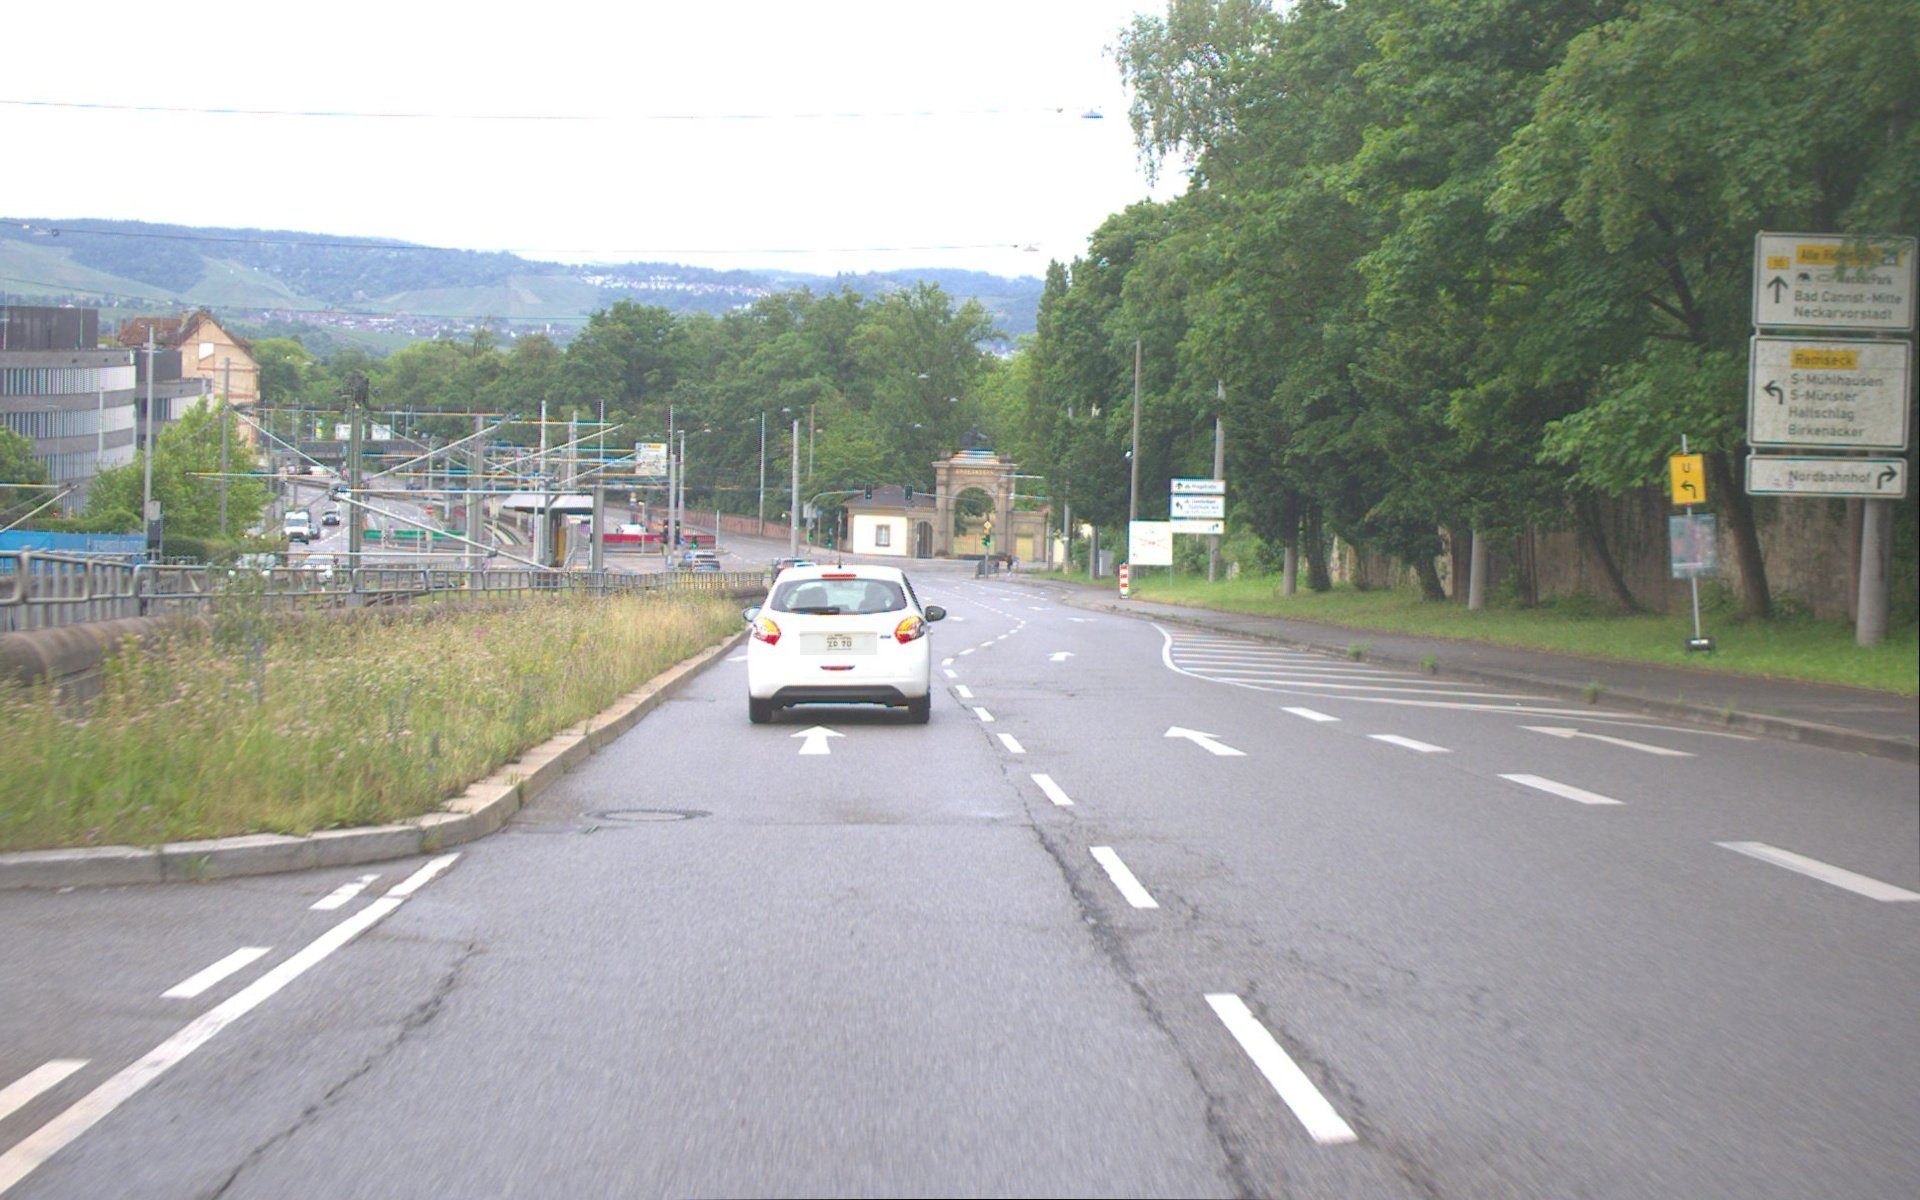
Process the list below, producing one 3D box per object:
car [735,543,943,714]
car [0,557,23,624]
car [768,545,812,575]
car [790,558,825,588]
[{"bbox_3d":[-1.119,0.222,32.912,1.868,1.505,3.900,0,1,-1],"label":"car"},{"bbox_3d":[-25.103,-0.277,86.372,1.891,1.638,4.358,4,1,-1],"label":"car"},{"bbox_3d":[-9.974,-2.366,201.190,1.993,1.700,4.001,1,1,-11],"label":"car"},{"bbox_3d":[-8.558,-1.533,193.222,1.822,1.600,4.000,-1,1,0],"label":"car"}]
